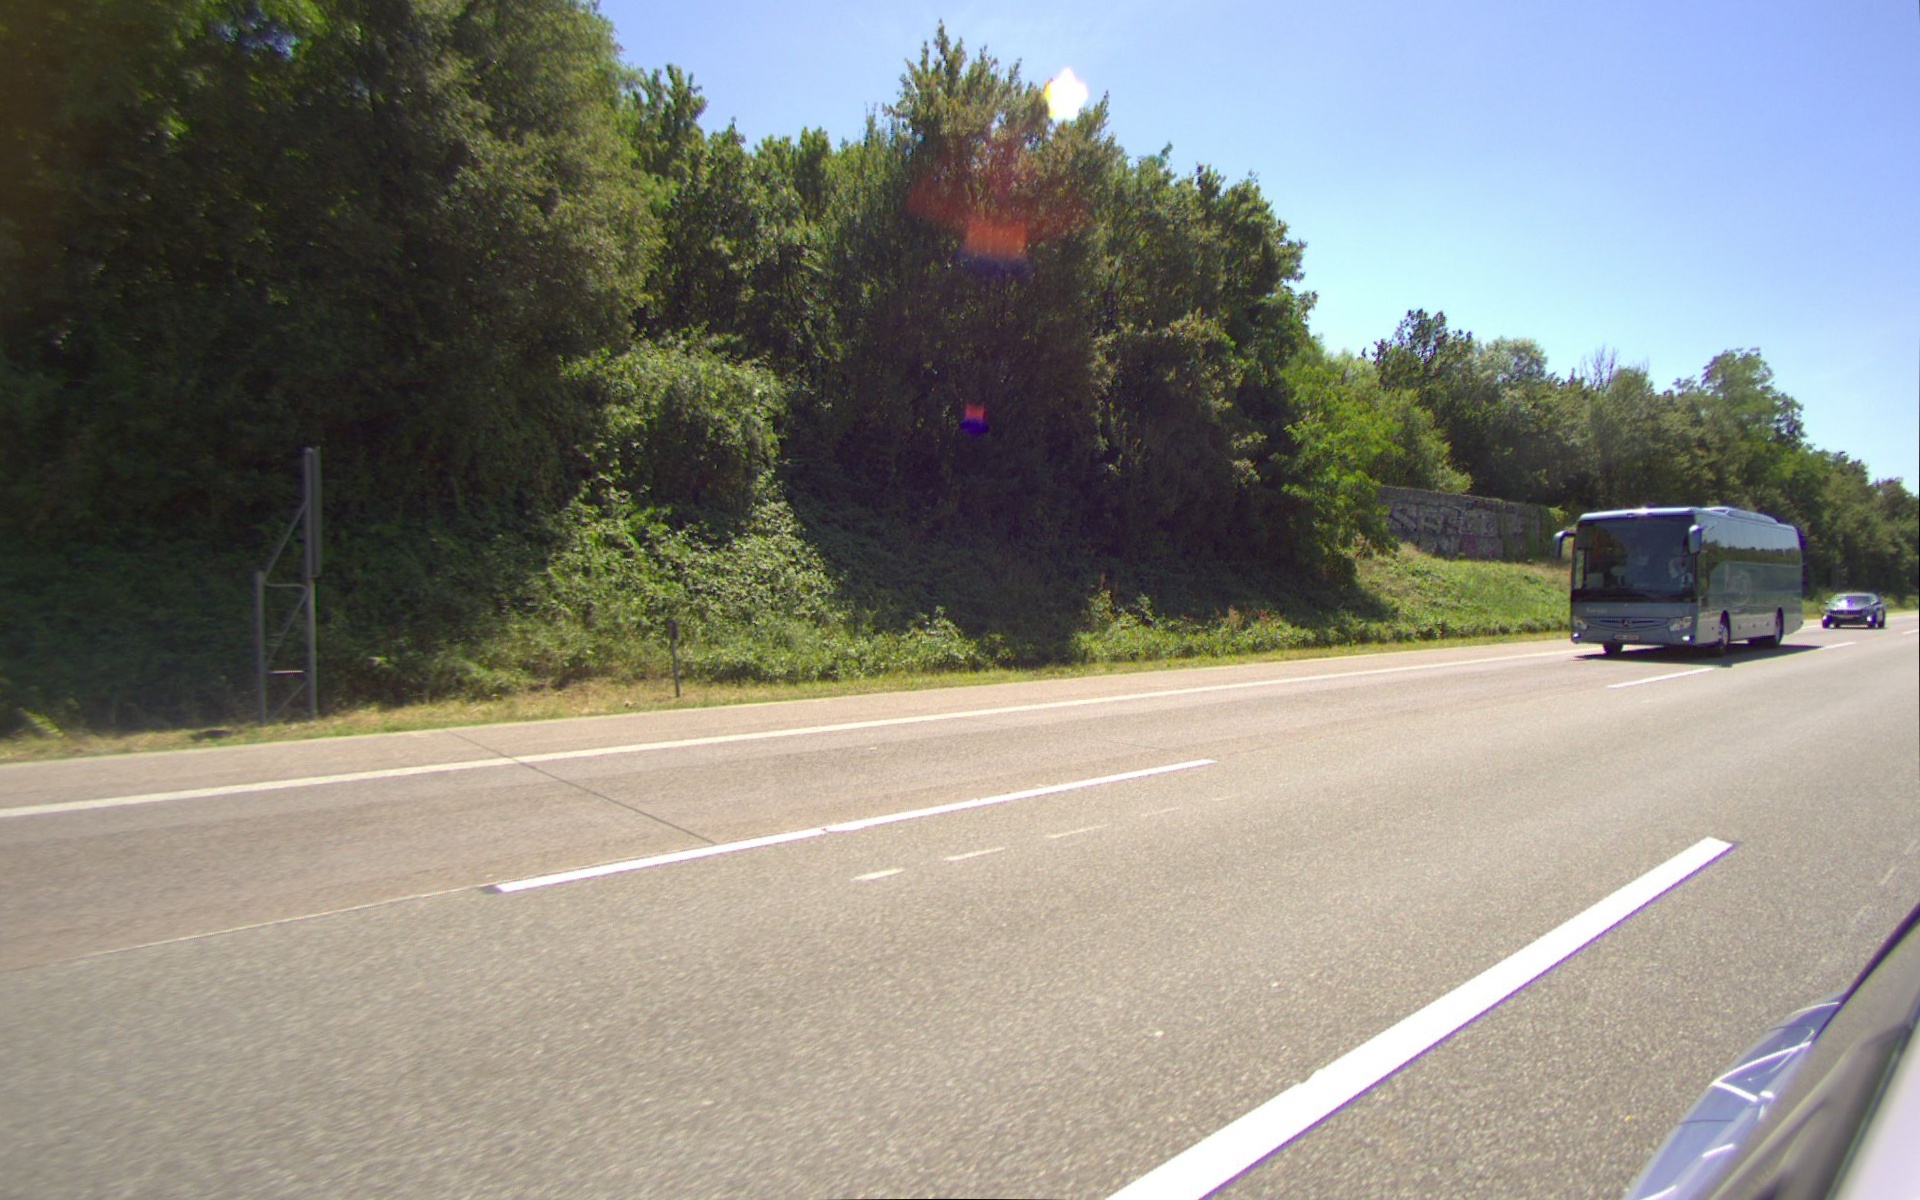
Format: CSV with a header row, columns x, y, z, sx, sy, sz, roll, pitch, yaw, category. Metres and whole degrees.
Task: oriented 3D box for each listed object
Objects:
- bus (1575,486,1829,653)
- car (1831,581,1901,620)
x,y,z,sx,sy,sz,roll,pitch,yaw,category
20.387,-0.771,27.216,13.444,3.597,2.615,-1,1,-41,bus
40.166,-0.002,44.845,3.930,1.636,1.813,-1,1,-41,car
